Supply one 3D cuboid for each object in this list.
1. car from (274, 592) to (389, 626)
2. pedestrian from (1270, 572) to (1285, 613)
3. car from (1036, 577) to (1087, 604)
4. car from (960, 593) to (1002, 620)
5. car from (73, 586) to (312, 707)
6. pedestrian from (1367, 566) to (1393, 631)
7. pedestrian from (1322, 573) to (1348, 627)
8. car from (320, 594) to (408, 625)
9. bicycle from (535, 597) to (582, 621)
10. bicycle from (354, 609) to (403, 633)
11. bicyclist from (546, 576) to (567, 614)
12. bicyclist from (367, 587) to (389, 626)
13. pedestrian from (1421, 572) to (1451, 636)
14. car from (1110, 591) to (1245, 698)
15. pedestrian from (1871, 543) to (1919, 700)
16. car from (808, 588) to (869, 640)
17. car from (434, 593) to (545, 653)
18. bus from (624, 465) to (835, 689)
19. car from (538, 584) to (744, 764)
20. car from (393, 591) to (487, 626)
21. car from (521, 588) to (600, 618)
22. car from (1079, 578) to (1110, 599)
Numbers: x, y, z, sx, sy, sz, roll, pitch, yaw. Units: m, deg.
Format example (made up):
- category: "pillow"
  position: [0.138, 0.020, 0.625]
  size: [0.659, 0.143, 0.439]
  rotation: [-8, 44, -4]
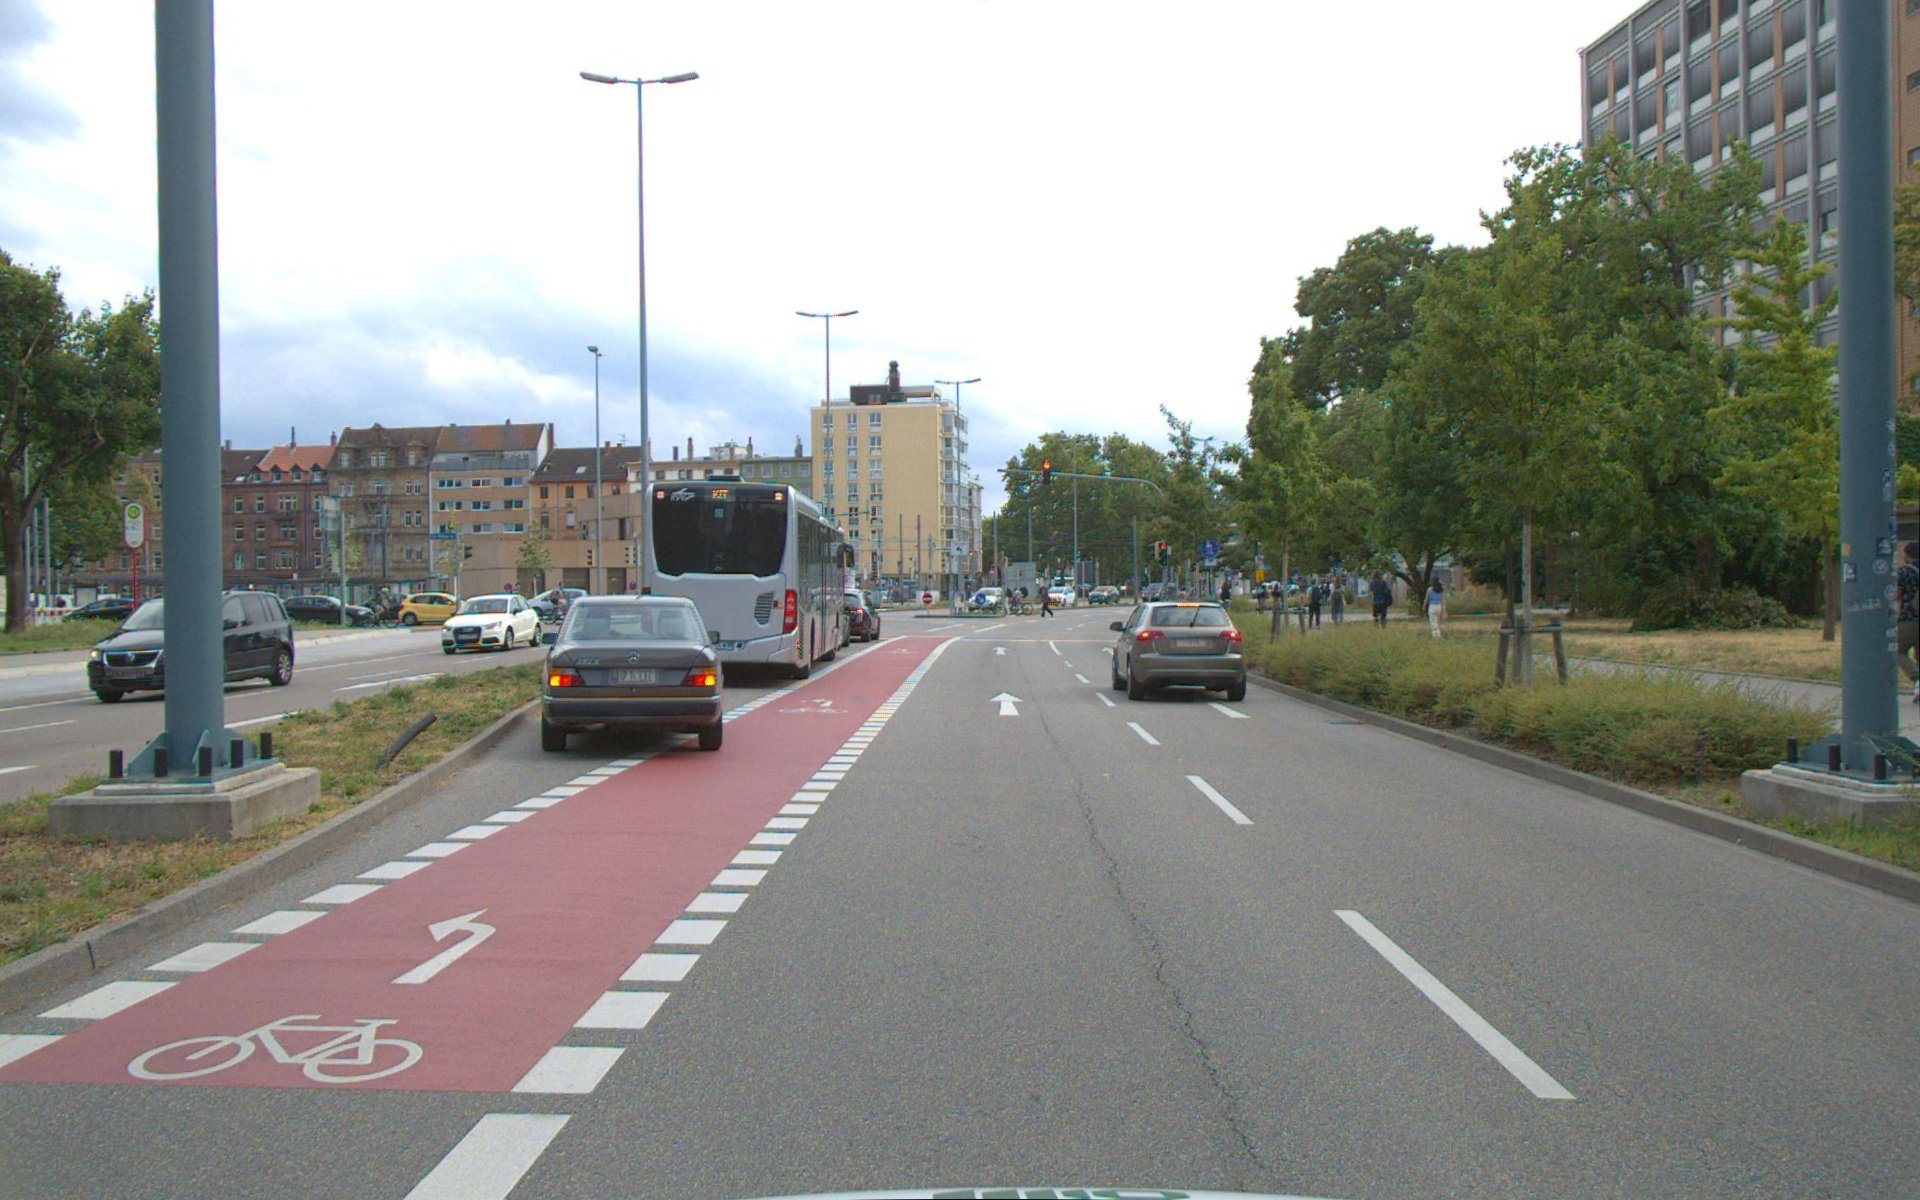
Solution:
- category: "car"
  position: [-28.541, 0.399, 75.243]
  size: [4.577, 1.501, 1.659]
  rotation: [1, 0, -5]
- category: "pedestrian"
  position: [16.114, -0.369, 83.987]
  size: [0.601, 2.049, 0.597]
  rotation: [0, 0, -1]
- category: "car"
  position: [8.562, -0.810, 139.078]
  size: [2.531, 2.146, 5.599]
  rotation: [-1, 1, 23]
- category: "car"
  position: [1.435, 0.410, 110.189]
  size: [1.951, 1.732, 4.003]
  rotation: [-1, 1, 14]
- category: "car"
  position: [-12.304, 0.678, 26.842]
  size: [1.765, 1.694, 4.300]
  rotation: [-3, 1, 0]
- category: "pedestrian"
  position: [11.457, -0.051, 45.110]
  size: [0.632, 1.743, 0.562]
  rotation: [-1, 0, 16]
- category: "pedestrian"
  position: [12.220, 0.003, 53.884]
  size: [0.785, 1.743, 0.765]
  rotation: [-1, 0, 14]
- category: "car"
  position: [-28.646, 0.469, 79.545]
  size: [3.689, 1.419, 1.583]
  rotation: [1, 0, -5]
- category: "bicycle"
  position: [-17.737, 0.405, 73.059]
  size: [1.925, 0.999, 0.631]
  rotation: [-1, 0, -2]
- category: "bicycle"
  position: [-25.590, 0.904, 72.766]
  size: [1.925, 0.999, 0.630]
  rotation: [-1, 0, -5]
- category: "bicyclist"
  position: [-17.811, -0.233, 73.051]
  size: [0.770, 1.672, 0.613]
  rotation: [-1, 0, -2]
- category: "bicyclist"
  position: [-25.588, 0.276, 72.741]
  size: [0.771, 1.672, 0.572]
  rotation: [-1, 0, -5]
- category: "pedestrian"
  position: [11.272, 0.084, 39.149]
  size: [0.643, 1.496, 0.562]
  rotation: [-1, 0, 18]
- category: "car"
  position: [3.271, 0.621, 25.452]
  size: [1.688, 1.483, 3.737]
  rotation: [-1, 1, 2]
- category: "pedestrian"
  position: [10.671, 0.227, 18.462]
  size: [0.575, 1.712, 0.748]
  rotation: [-1, 0, 1]
- category: "car"
  position: [-3.547, 0.374, 48.735]
  size: [1.621, 1.421, 3.859]
  rotation: [-1, 1, -2]
- category: "car"
  position: [-12.120, 0.551, 42.844]
  size: [1.636, 1.413, 3.923]
  rotation: [-2, 1, 1]
- category: "bus"
  position: [-3.902, -0.407, 29.884]
  size: [2.774, 3.449, 8.181]
  rotation: [-1, 1, -1]
- category: "car"
  position: [-3.188, 0.619, 16.411]
  size: [1.730, 1.515, 4.158]
  rotation: [-1, 1, -12]
- category: "car"
  position: [-23.733, 0.401, 75.561]
  size: [3.780, 1.544, 1.659]
  rotation: [0, 0, -5]
- category: "car"
  position: [-19.621, 0.128, 81.192]
  size: [3.618, 1.419, 1.575]
  rotation: [0, 0, -20]
- category: "car"
  position: [12.143, -1.044, 149.131]
  size: [1.769, 1.883, 4.002]
  rotation: [-1, 1, 18]
